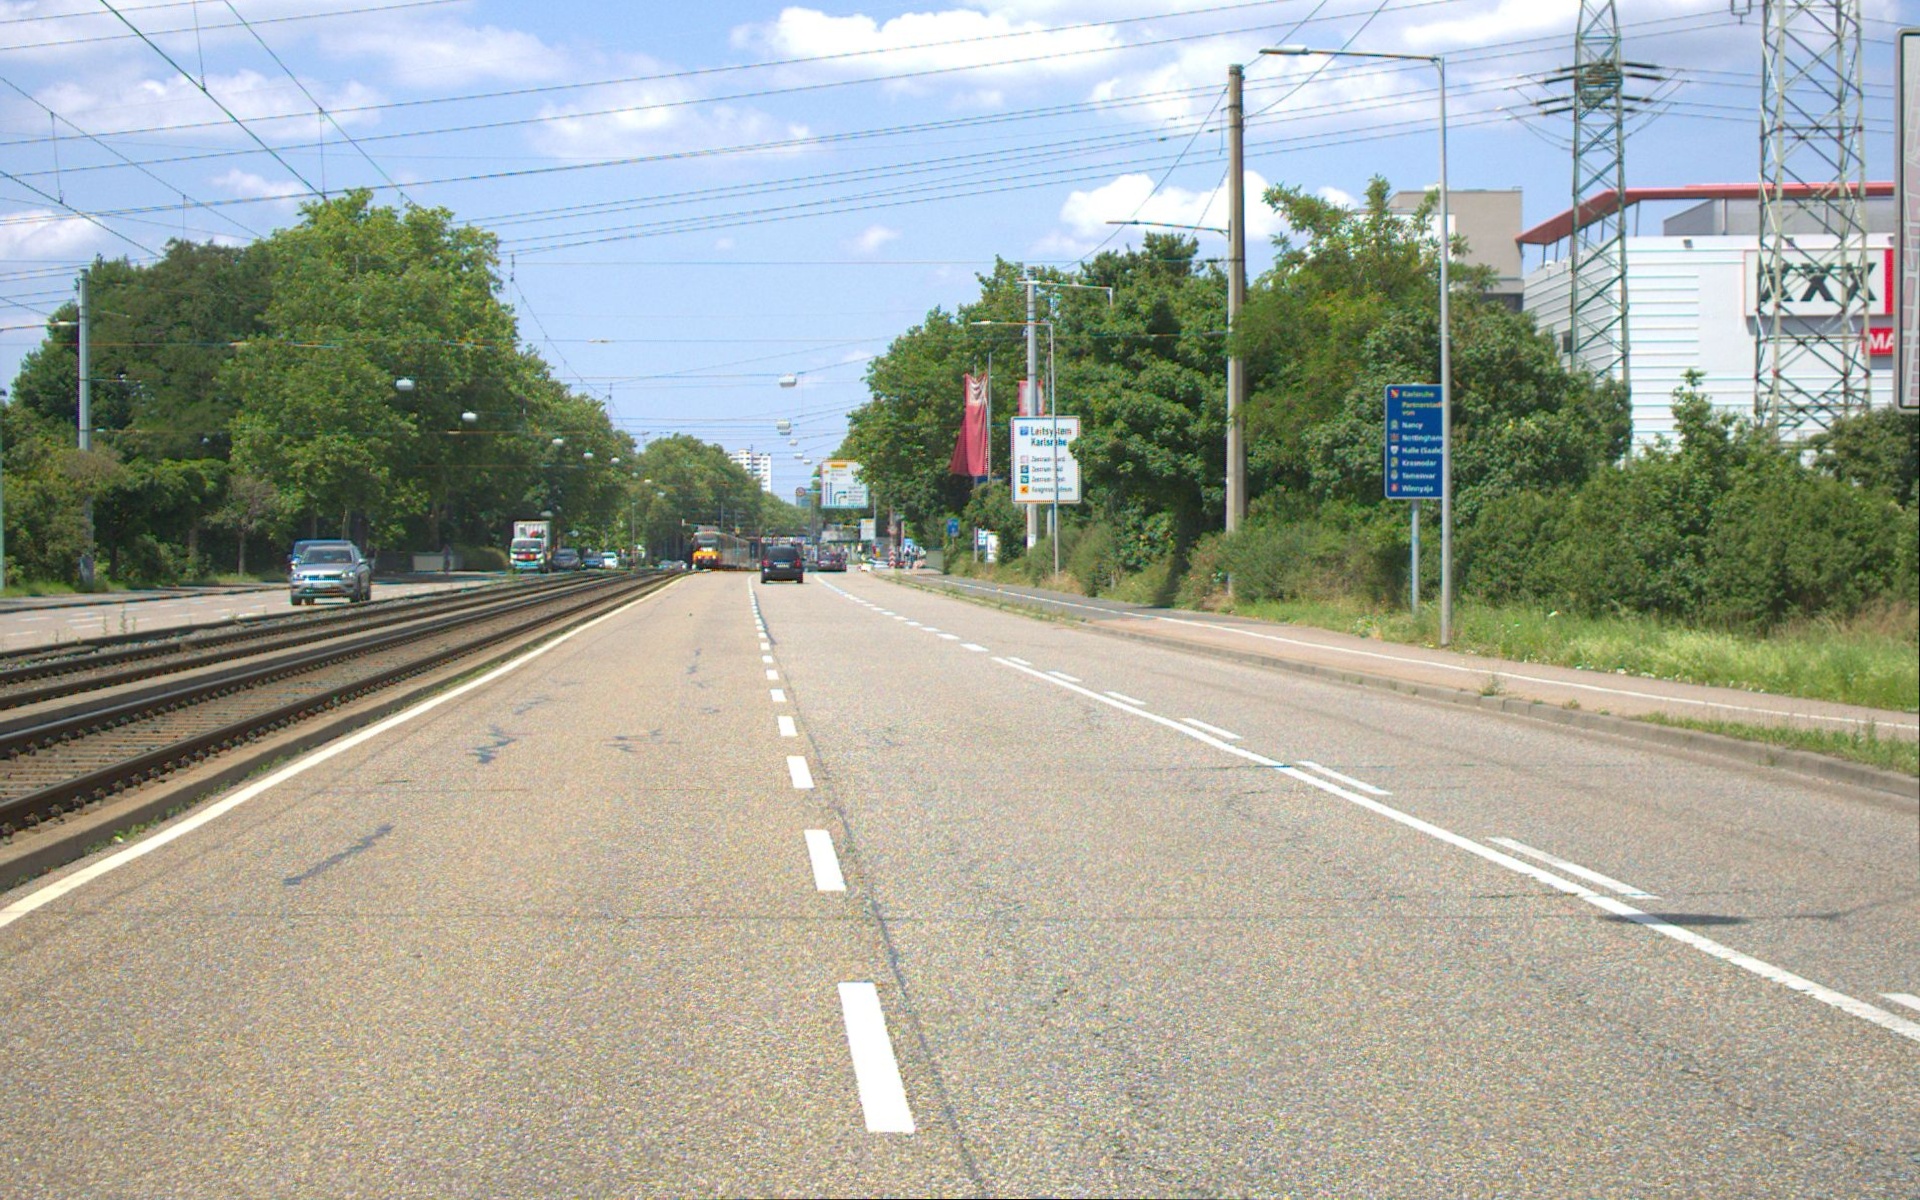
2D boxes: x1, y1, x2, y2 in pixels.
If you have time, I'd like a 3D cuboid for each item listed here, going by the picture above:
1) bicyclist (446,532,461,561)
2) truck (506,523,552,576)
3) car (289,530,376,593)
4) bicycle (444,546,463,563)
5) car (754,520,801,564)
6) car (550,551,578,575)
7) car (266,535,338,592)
[{"bbox_3d":[-28.598,-3.032,194.072,0.623,1.612,1.062,2,1,3],"label":"bicyclist"},{"bbox_3d":[-26.611,-3.127,212.584,2.249,3.225,6.042,-1,1,-2],"label":"truck"},{"bbox_3d":[-17.231,-1.089,94.613,1.801,1.619,4.495,-2,1,-4],"label":"car"},{"bbox_3d":[-28.610,-2.576,194.127,0.623,0.976,2.054,2,1,3],"label":"bicycle"},{"bbox_3d":[-7.750,-2.444,145.879,1.899,1.799,3.977,1,1,-4],"label":"car"},{"bbox_3d":[-27.079,-2.552,235.088,1.752,1.530,3.958,-1,1,-4],"label":"car"},{"bbox_3d":[-23.496,-1.329,122.989,1.857,1.921,5.009,-2,1,-4],"label":"car"}]
